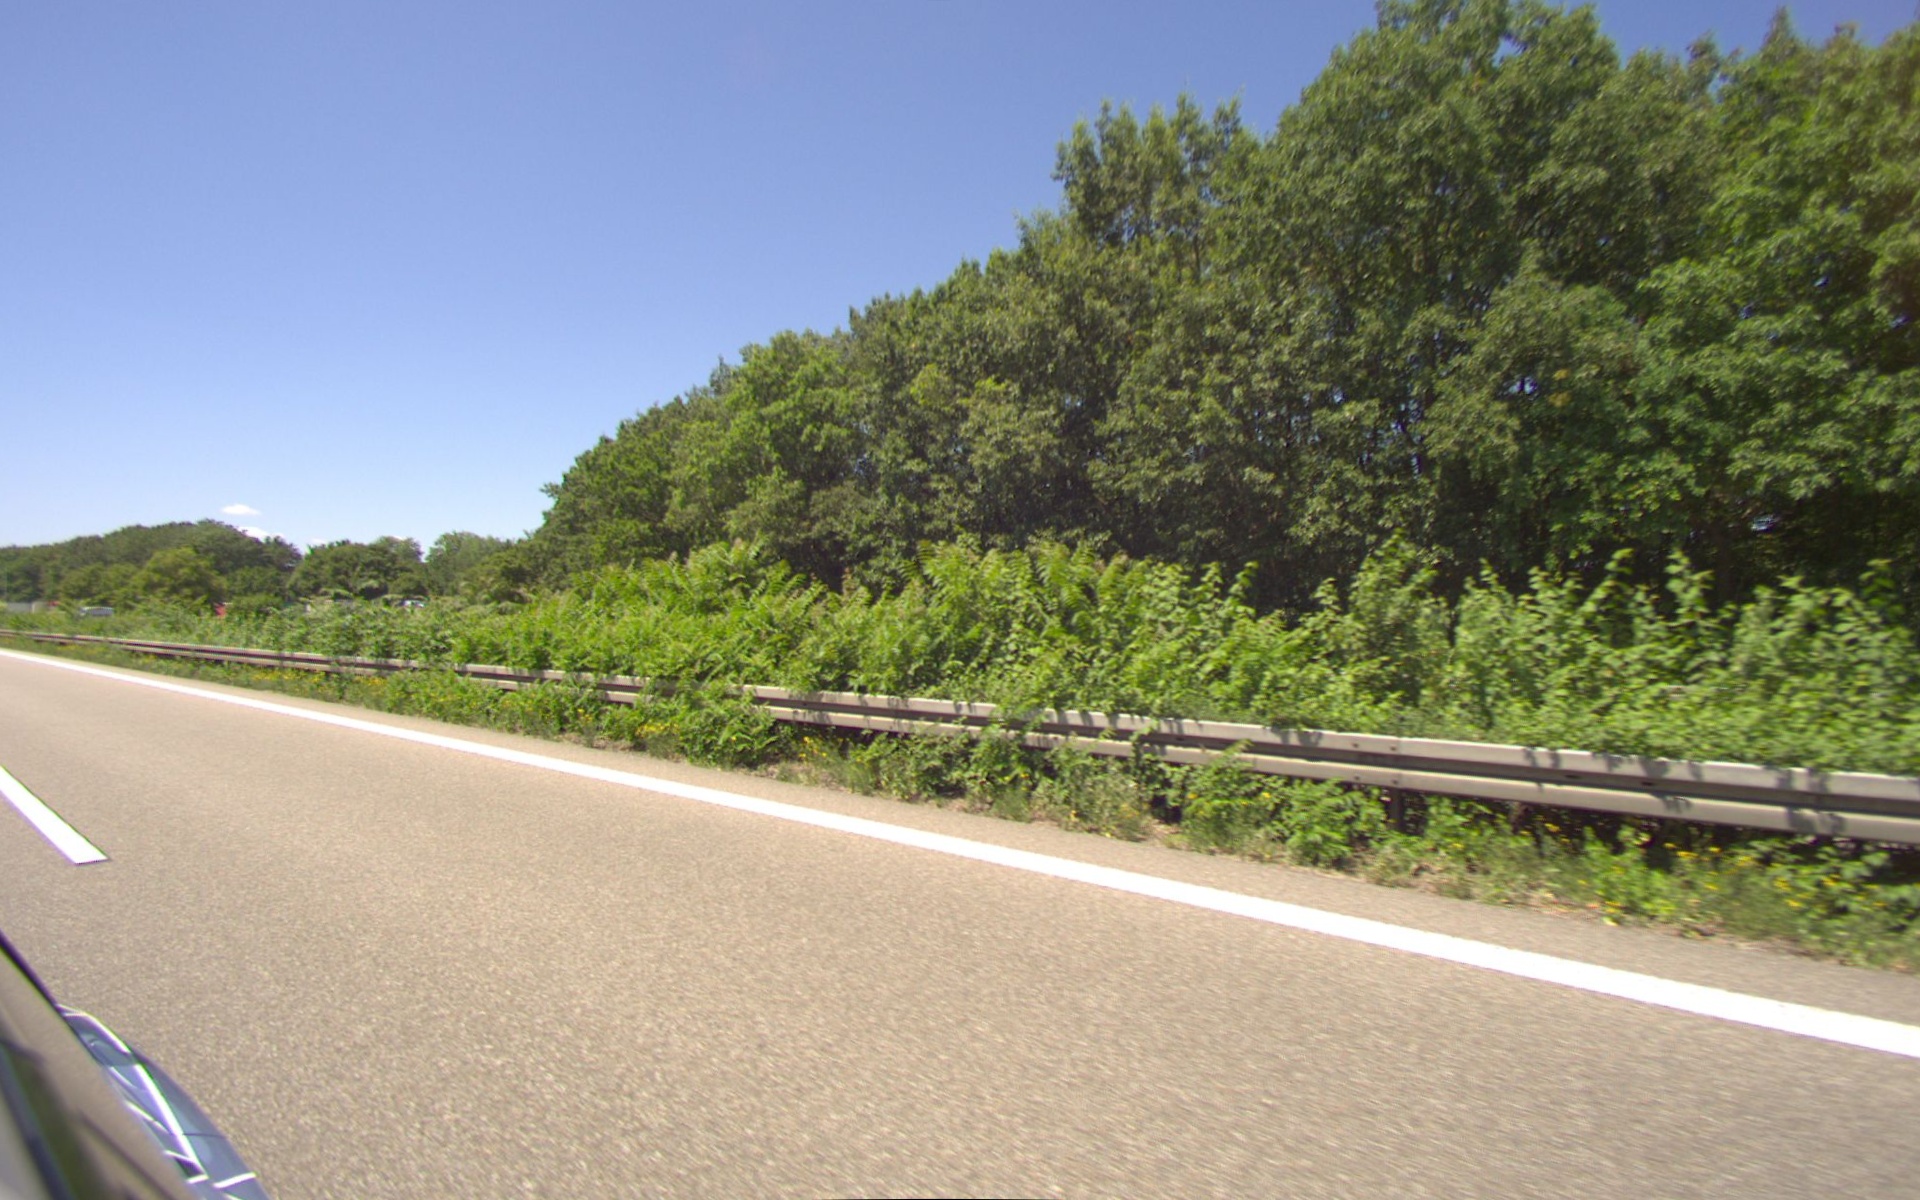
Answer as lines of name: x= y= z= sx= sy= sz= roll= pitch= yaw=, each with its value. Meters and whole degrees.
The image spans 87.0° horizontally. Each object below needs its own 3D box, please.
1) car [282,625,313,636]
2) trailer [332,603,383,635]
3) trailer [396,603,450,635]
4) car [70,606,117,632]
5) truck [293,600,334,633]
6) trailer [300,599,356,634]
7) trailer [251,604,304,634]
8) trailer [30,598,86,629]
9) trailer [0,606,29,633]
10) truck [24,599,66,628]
car: x=-94.005 y=4.304 z=143.605 sx=4.165 sy=1.618 sz=1.789 roll=-1 pitch=-2 yaw=28
trailer: x=-90.370 y=2.926 z=151.627 sx=3.558 sy=4.627 sz=14.035 roll=2 pitch=-2 yaw=-43
trailer: x=-66.170 y=2.381 z=124.497 sx=3.554 sy=3.684 sz=14.053 roll=2 pitch=-2 yaw=-37
car: x=-73.125 y=1.561 z=85.339 sx=6.630 sy=2.070 sz=2.124 roll=-1 pitch=0 yaw=41
truck: x=-85.395 y=2.128 z=133.616 sx=3.178 sy=4.167 sz=7.398 roll=-1 pitch=0 yaw=-44
trailer: x=-80.140 y=2.047 z=128.108 sx=3.178 sy=4.167 sz=14.062 roll=-1 pitch=0 yaw=-44
trailer: x=-107.946 y=3.084 z=159.989 sx=14.019 sy=4.627 sz=3.562 roll=-1 pitch=-2 yaw=42
trailer: x=-108.728 y=1.622 z=121.834 sx=15.961 sy=3.607 sz=3.164 roll=-1 pitch=0 yaw=41
trailer: x=-141.535 y=2.829 z=150.470 sx=14.018 sy=3.854 sz=3.164 roll=-1 pitch=0 yaw=42
truck: x=-115.794 y=1.729 z=128.077 sx=6.993 sy=3.607 sz=3.164 roll=-1 pitch=0 yaw=41
